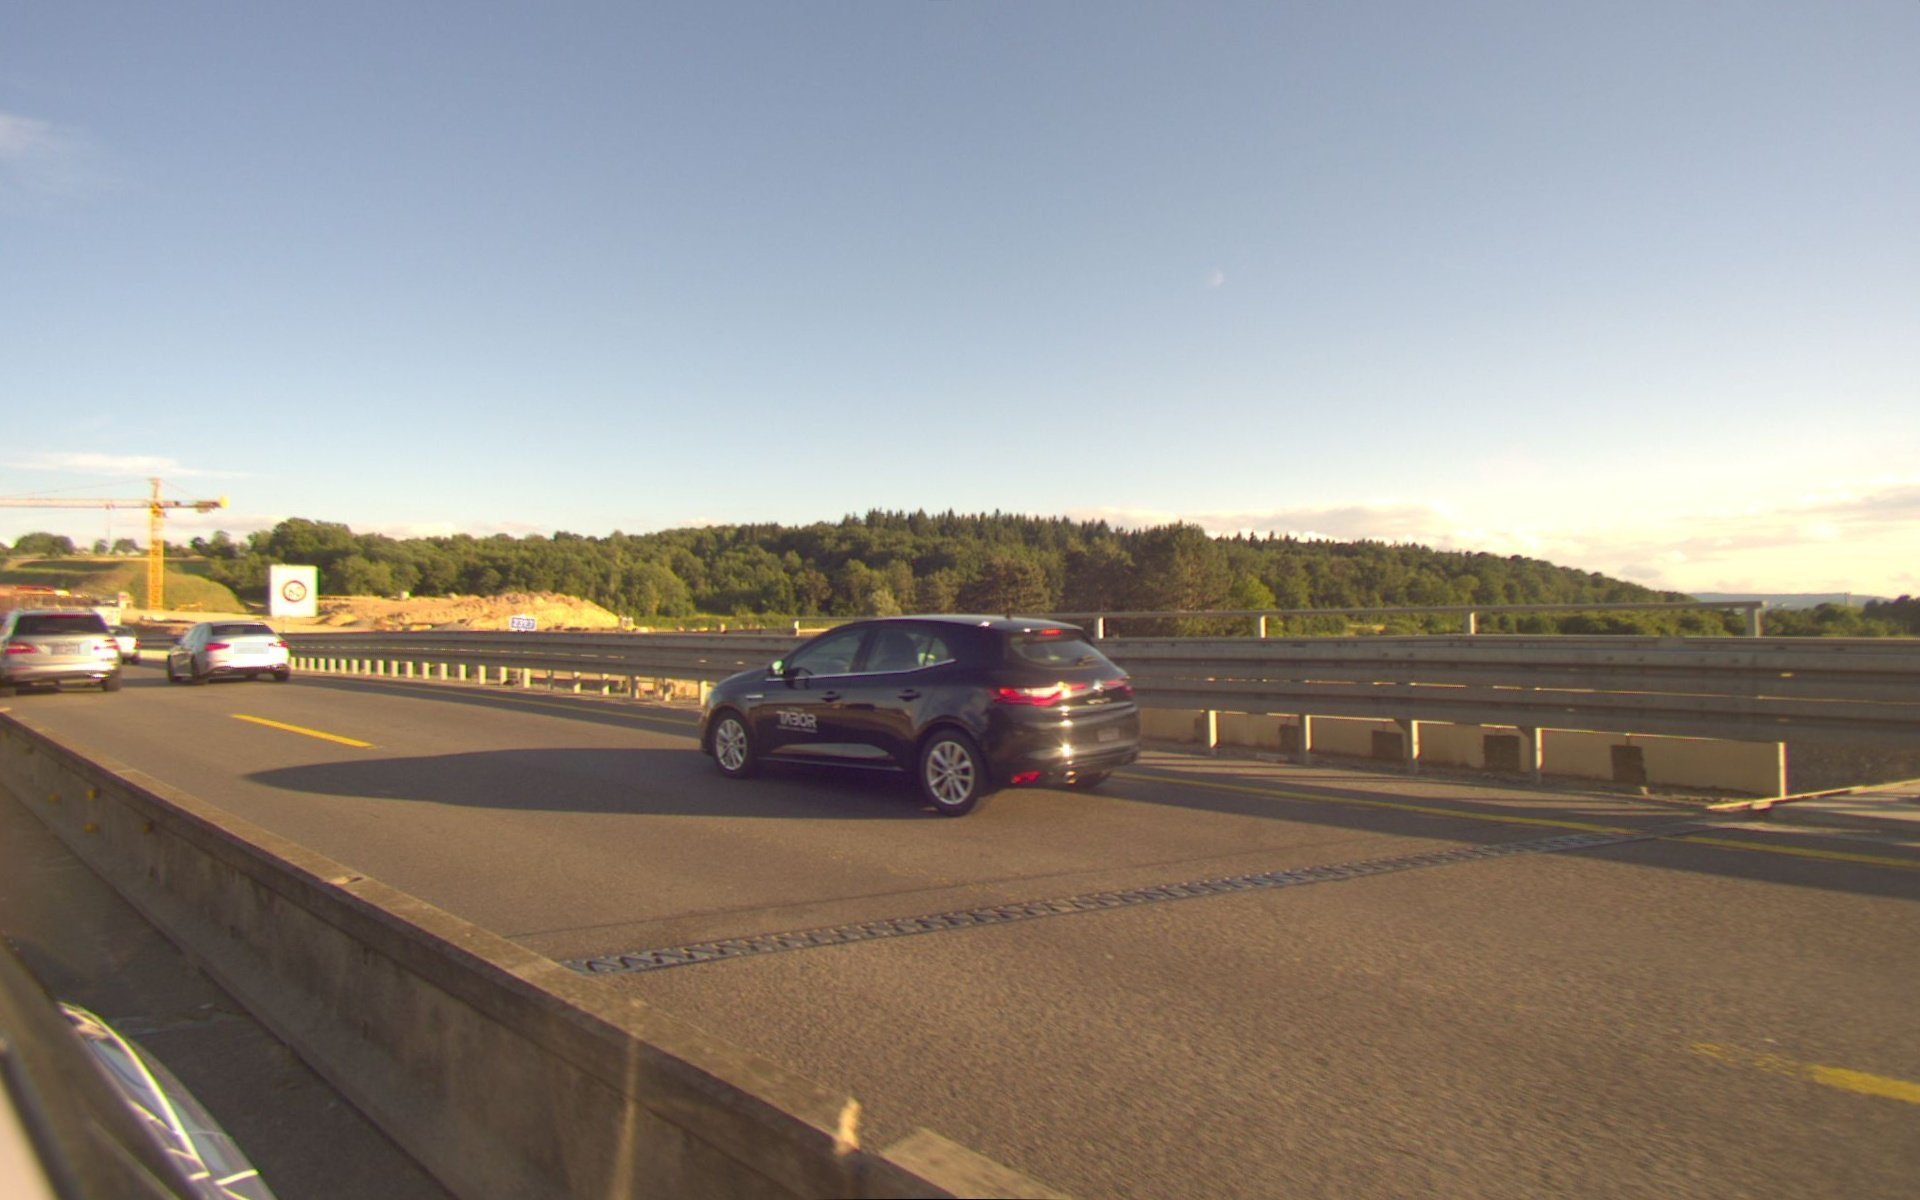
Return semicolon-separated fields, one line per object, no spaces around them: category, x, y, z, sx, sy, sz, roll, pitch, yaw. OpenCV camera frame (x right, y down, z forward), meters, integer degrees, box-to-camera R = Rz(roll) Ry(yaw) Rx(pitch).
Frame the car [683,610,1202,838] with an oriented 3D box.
car;-0.349;0.841;8.507;4.307;1.415;1.757;-2;-1;42

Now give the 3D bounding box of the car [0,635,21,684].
car;-32.137;1.948;33.001;3.998;1.523;1.786;-2;-2;41

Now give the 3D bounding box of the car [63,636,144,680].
car;-31.191;2.083;36.804;4.577;1.433;1.659;-3;-2;42

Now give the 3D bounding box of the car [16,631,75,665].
car;-45.714;2.407;50.554;3.998;1.583;1.761;-3;-3;41

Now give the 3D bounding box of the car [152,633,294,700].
car;-17.292;1.477;23.667;4.530;1.393;1.755;-1;-2;41

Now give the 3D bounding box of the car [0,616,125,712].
car;-19.167;1.262;21.100;4.658;1.772;1.973;-2;-1;41
